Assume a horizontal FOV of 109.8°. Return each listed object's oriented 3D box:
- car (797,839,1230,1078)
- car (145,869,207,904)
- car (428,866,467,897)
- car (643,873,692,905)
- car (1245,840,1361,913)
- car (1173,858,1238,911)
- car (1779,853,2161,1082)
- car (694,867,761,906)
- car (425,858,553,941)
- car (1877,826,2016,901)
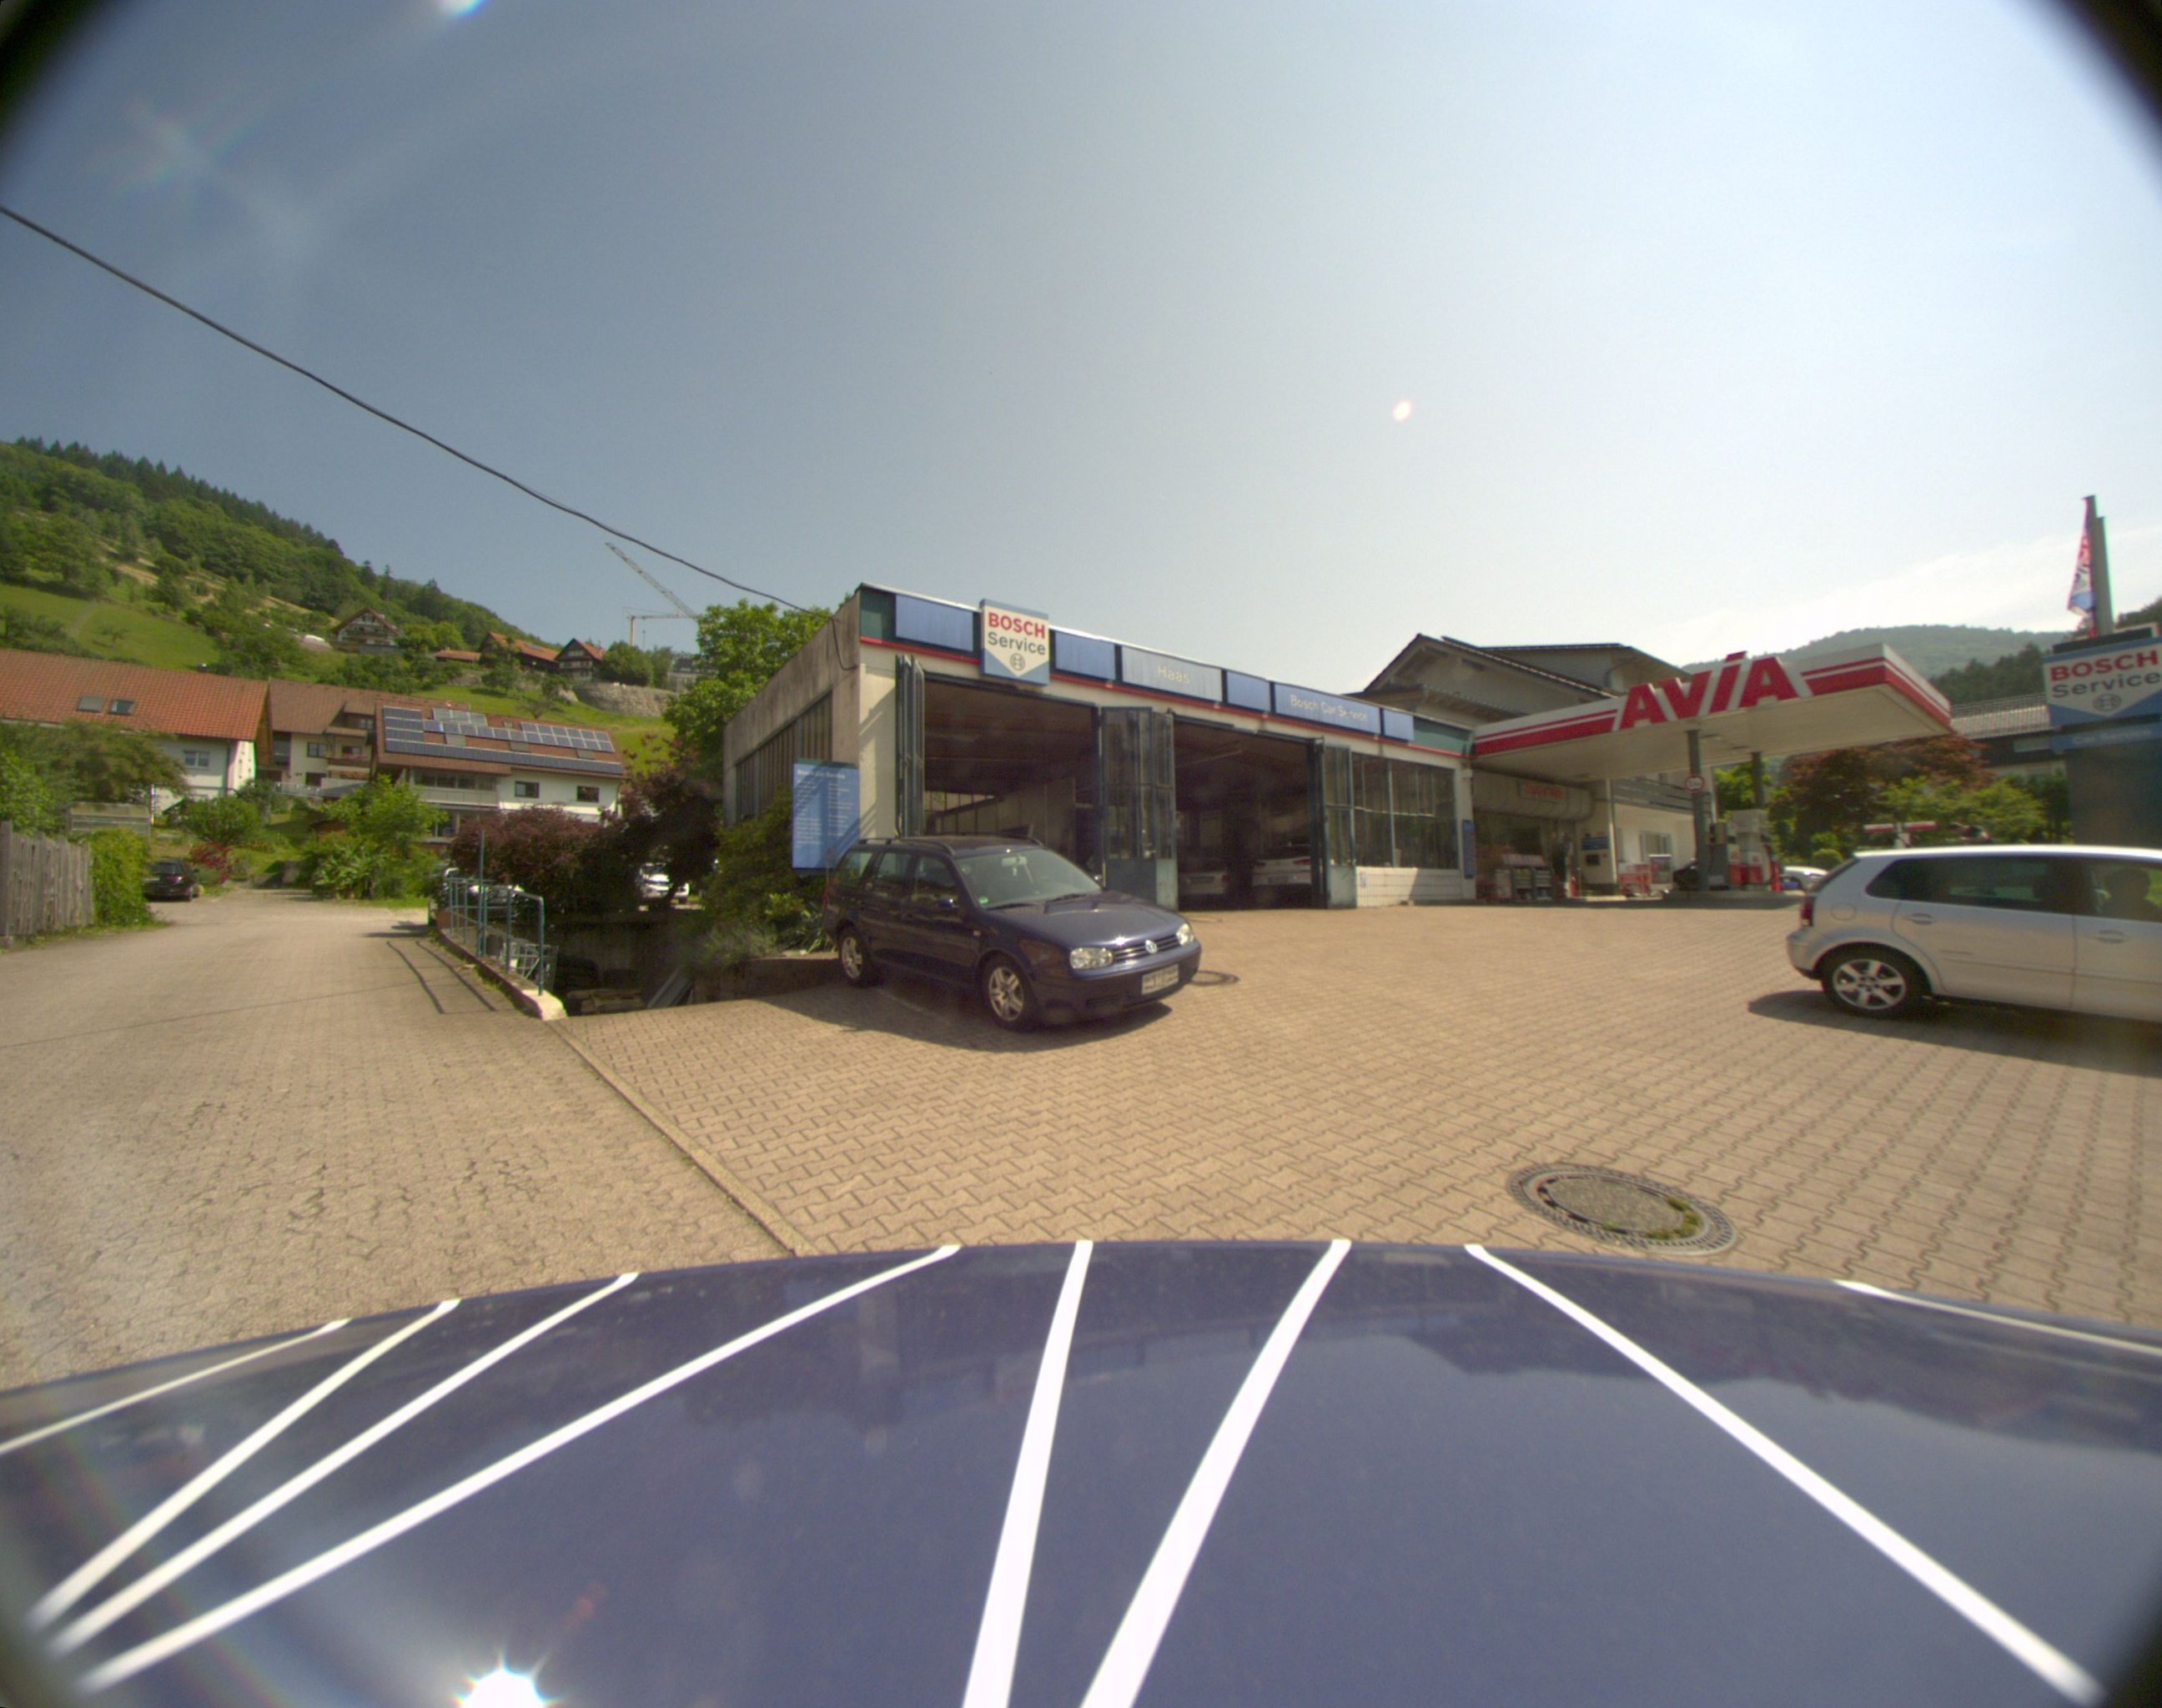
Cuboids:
[{"bbox_3d":[-0.913,0.680,7.202,1.803,1.536,4.319,-3,2,-42],"label":"car"},{"bbox_3d":[-30.885,1.087,25.977,2.855,1.058,1.115,1,-2,44],"label":"car"},{"bbox_3d":[-30.854,1.300,36.973,1.347,1.363,3.204,-2,1,-41],"label":"car"},{"bbox_3d":[-18.194,1.498,33.402,1.471,1.251,3.379,1,-1,-36],"label":"car"},{"bbox_3d":[5.929,0.513,20.024,1.601,1.678,3.938,0,1,37],"label":"car"},{"bbox_3d":[3.654,0.932,21.972,1.546,1.397,3.484,-1,-4,14],"label":"car"},{"bbox_3d":[7.912,0.785,5.639,1.598,1.474,3.746,-2,2,-35],"label":"car"},{"bbox_3d":[-16.100,1.436,34.482,1.683,1.546,3.900,-2,1,-41],"label":"car"},{"bbox_3d":[-14.029,0.933,17.884,2.004,1.635,4.863,-2,1,-42],"label":"car"},{"bbox_3d":[20.271,0.152,17.764,3.918,1.568,1.693,-2,1,-35],"label":"car"}]
